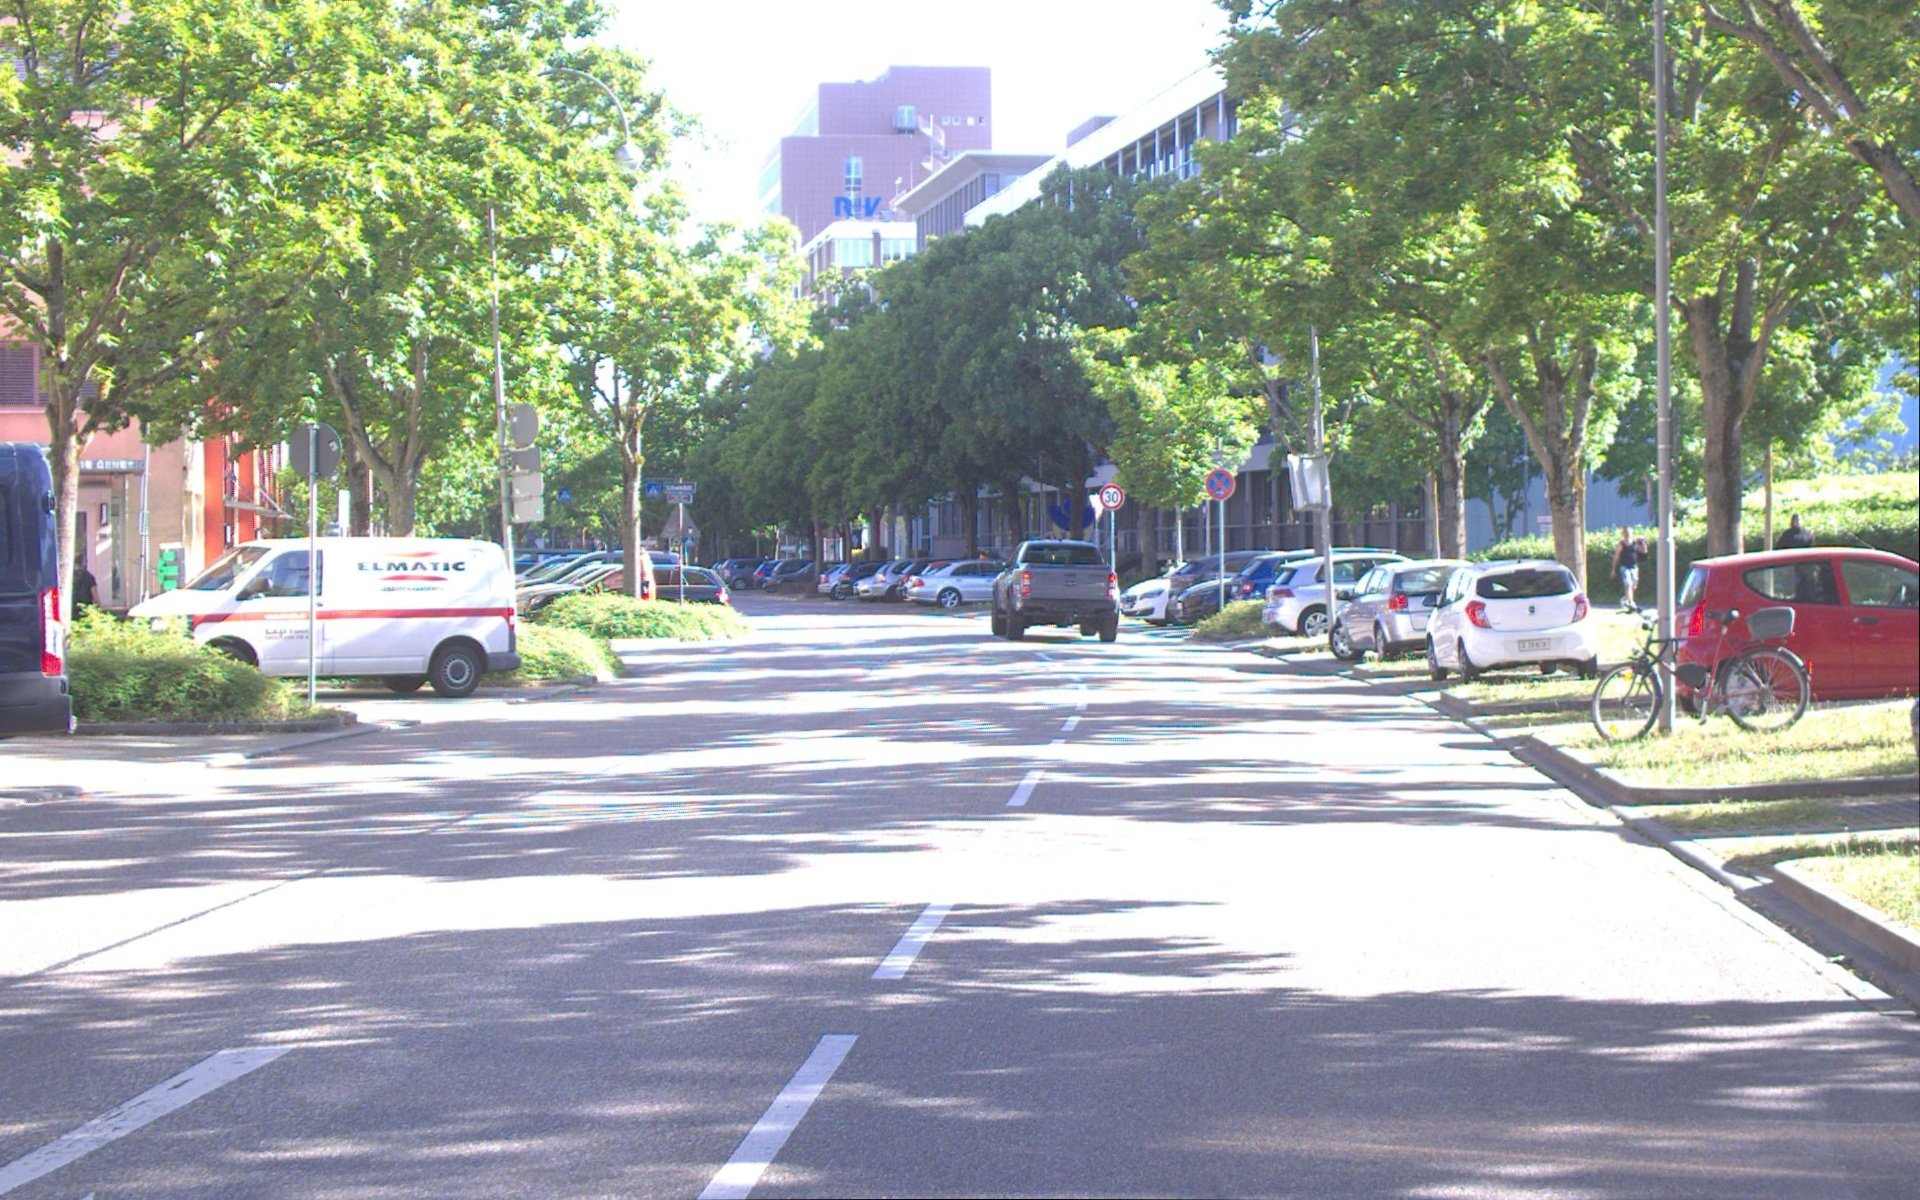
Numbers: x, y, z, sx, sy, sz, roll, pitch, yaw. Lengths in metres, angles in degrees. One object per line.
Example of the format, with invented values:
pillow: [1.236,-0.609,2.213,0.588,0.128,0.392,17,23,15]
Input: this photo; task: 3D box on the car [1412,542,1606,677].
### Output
car: [6.705,0.081,42.303,1.643,1.488,3.766,-3,1,-1]

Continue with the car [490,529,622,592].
car: [-14.040,-1.366,119.628,4.487,2.083,2.083,1,1,-6]

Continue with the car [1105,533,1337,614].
car: [5.647,-0.572,74.592,4.548,1.509,1.983,-3,1,-14]

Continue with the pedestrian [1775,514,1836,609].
pedestrian: [14.272,-0.659,58.060,0.723,1.582,0.853,-1,1,-7]

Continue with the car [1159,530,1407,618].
car: [6.498,-0.519,69.544,4.548,1.509,2.159,-3,1,-8]

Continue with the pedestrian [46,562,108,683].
pedestrian: [-12.847,0.314,50.058,0.656,1.720,1.022,-2,1,-5]

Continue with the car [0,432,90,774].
car: [-9.183,-0.007,24.547,5.486,2.428,2.187,0,1,-23]

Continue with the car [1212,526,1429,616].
car: [6.994,-0.559,66.870,3.805,1.443,1.745,-5,1,-6]

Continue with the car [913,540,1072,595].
car: [0.972,-0.986,104.371,4.577,1.470,1.747,-2,1,-8]

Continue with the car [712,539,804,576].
car: [-10.190,-2.168,173.409,4.350,1.698,1.813,-2,1,-11]

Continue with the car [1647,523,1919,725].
car: [7.714,0.151,29.218,3.435,1.539,1.627,-4,1,5]

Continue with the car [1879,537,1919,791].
car: [7.306,0.283,19.795,3.462,1.474,1.859,-3,1,1]

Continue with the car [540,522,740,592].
car: [-6.958,-0.938,74.949,4.262,1.419,1.740,1,1,-5]

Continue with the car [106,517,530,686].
car: [-7.920,-0.013,42.571,4.755,1.978,2.000,0,2,-33]

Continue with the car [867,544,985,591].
car: [-1.182,-1.134,119.317,3.742,1.488,1.617,-2,1,-14]

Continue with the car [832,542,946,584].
car: [-2.657,-1.398,128.356,3.968,1.415,1.711,-2,1,-10]

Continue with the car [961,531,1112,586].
car: [2.393,-1.307,108.266,4.514,1.537,1.922,-2,1,-5]

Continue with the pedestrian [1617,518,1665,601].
pedestrian: [12.820,-0.757,64.718,0.606,1.537,0.937,-1,1,-7]

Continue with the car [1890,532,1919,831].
car: [6.955,0.314,17.021,4.194,1.540,1.859,-3,1,5]

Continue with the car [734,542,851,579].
car: [-7.367,-1.741,150.910,4.824,1.415,2.032,-2,1,-10]

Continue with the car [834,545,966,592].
car: [-2.134,-1.127,121.783,4.284,1.488,2.005,-2,1,-15]

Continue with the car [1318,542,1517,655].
car: [6.666,-0.054,50.522,1.809,1.488,4.625,-3,1,-6]

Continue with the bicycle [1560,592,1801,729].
bicycle: [5.564,0.466,26.543,1.752,0.987,0.529,-2,1,16]

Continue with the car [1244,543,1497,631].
car: [6.993,-0.232,58.835,4.089,1.424,1.643,-1,1,-2]

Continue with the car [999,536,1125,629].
car: [1.847,-0.335,63.534,1.993,1.634,4.000,1,0,-3]
